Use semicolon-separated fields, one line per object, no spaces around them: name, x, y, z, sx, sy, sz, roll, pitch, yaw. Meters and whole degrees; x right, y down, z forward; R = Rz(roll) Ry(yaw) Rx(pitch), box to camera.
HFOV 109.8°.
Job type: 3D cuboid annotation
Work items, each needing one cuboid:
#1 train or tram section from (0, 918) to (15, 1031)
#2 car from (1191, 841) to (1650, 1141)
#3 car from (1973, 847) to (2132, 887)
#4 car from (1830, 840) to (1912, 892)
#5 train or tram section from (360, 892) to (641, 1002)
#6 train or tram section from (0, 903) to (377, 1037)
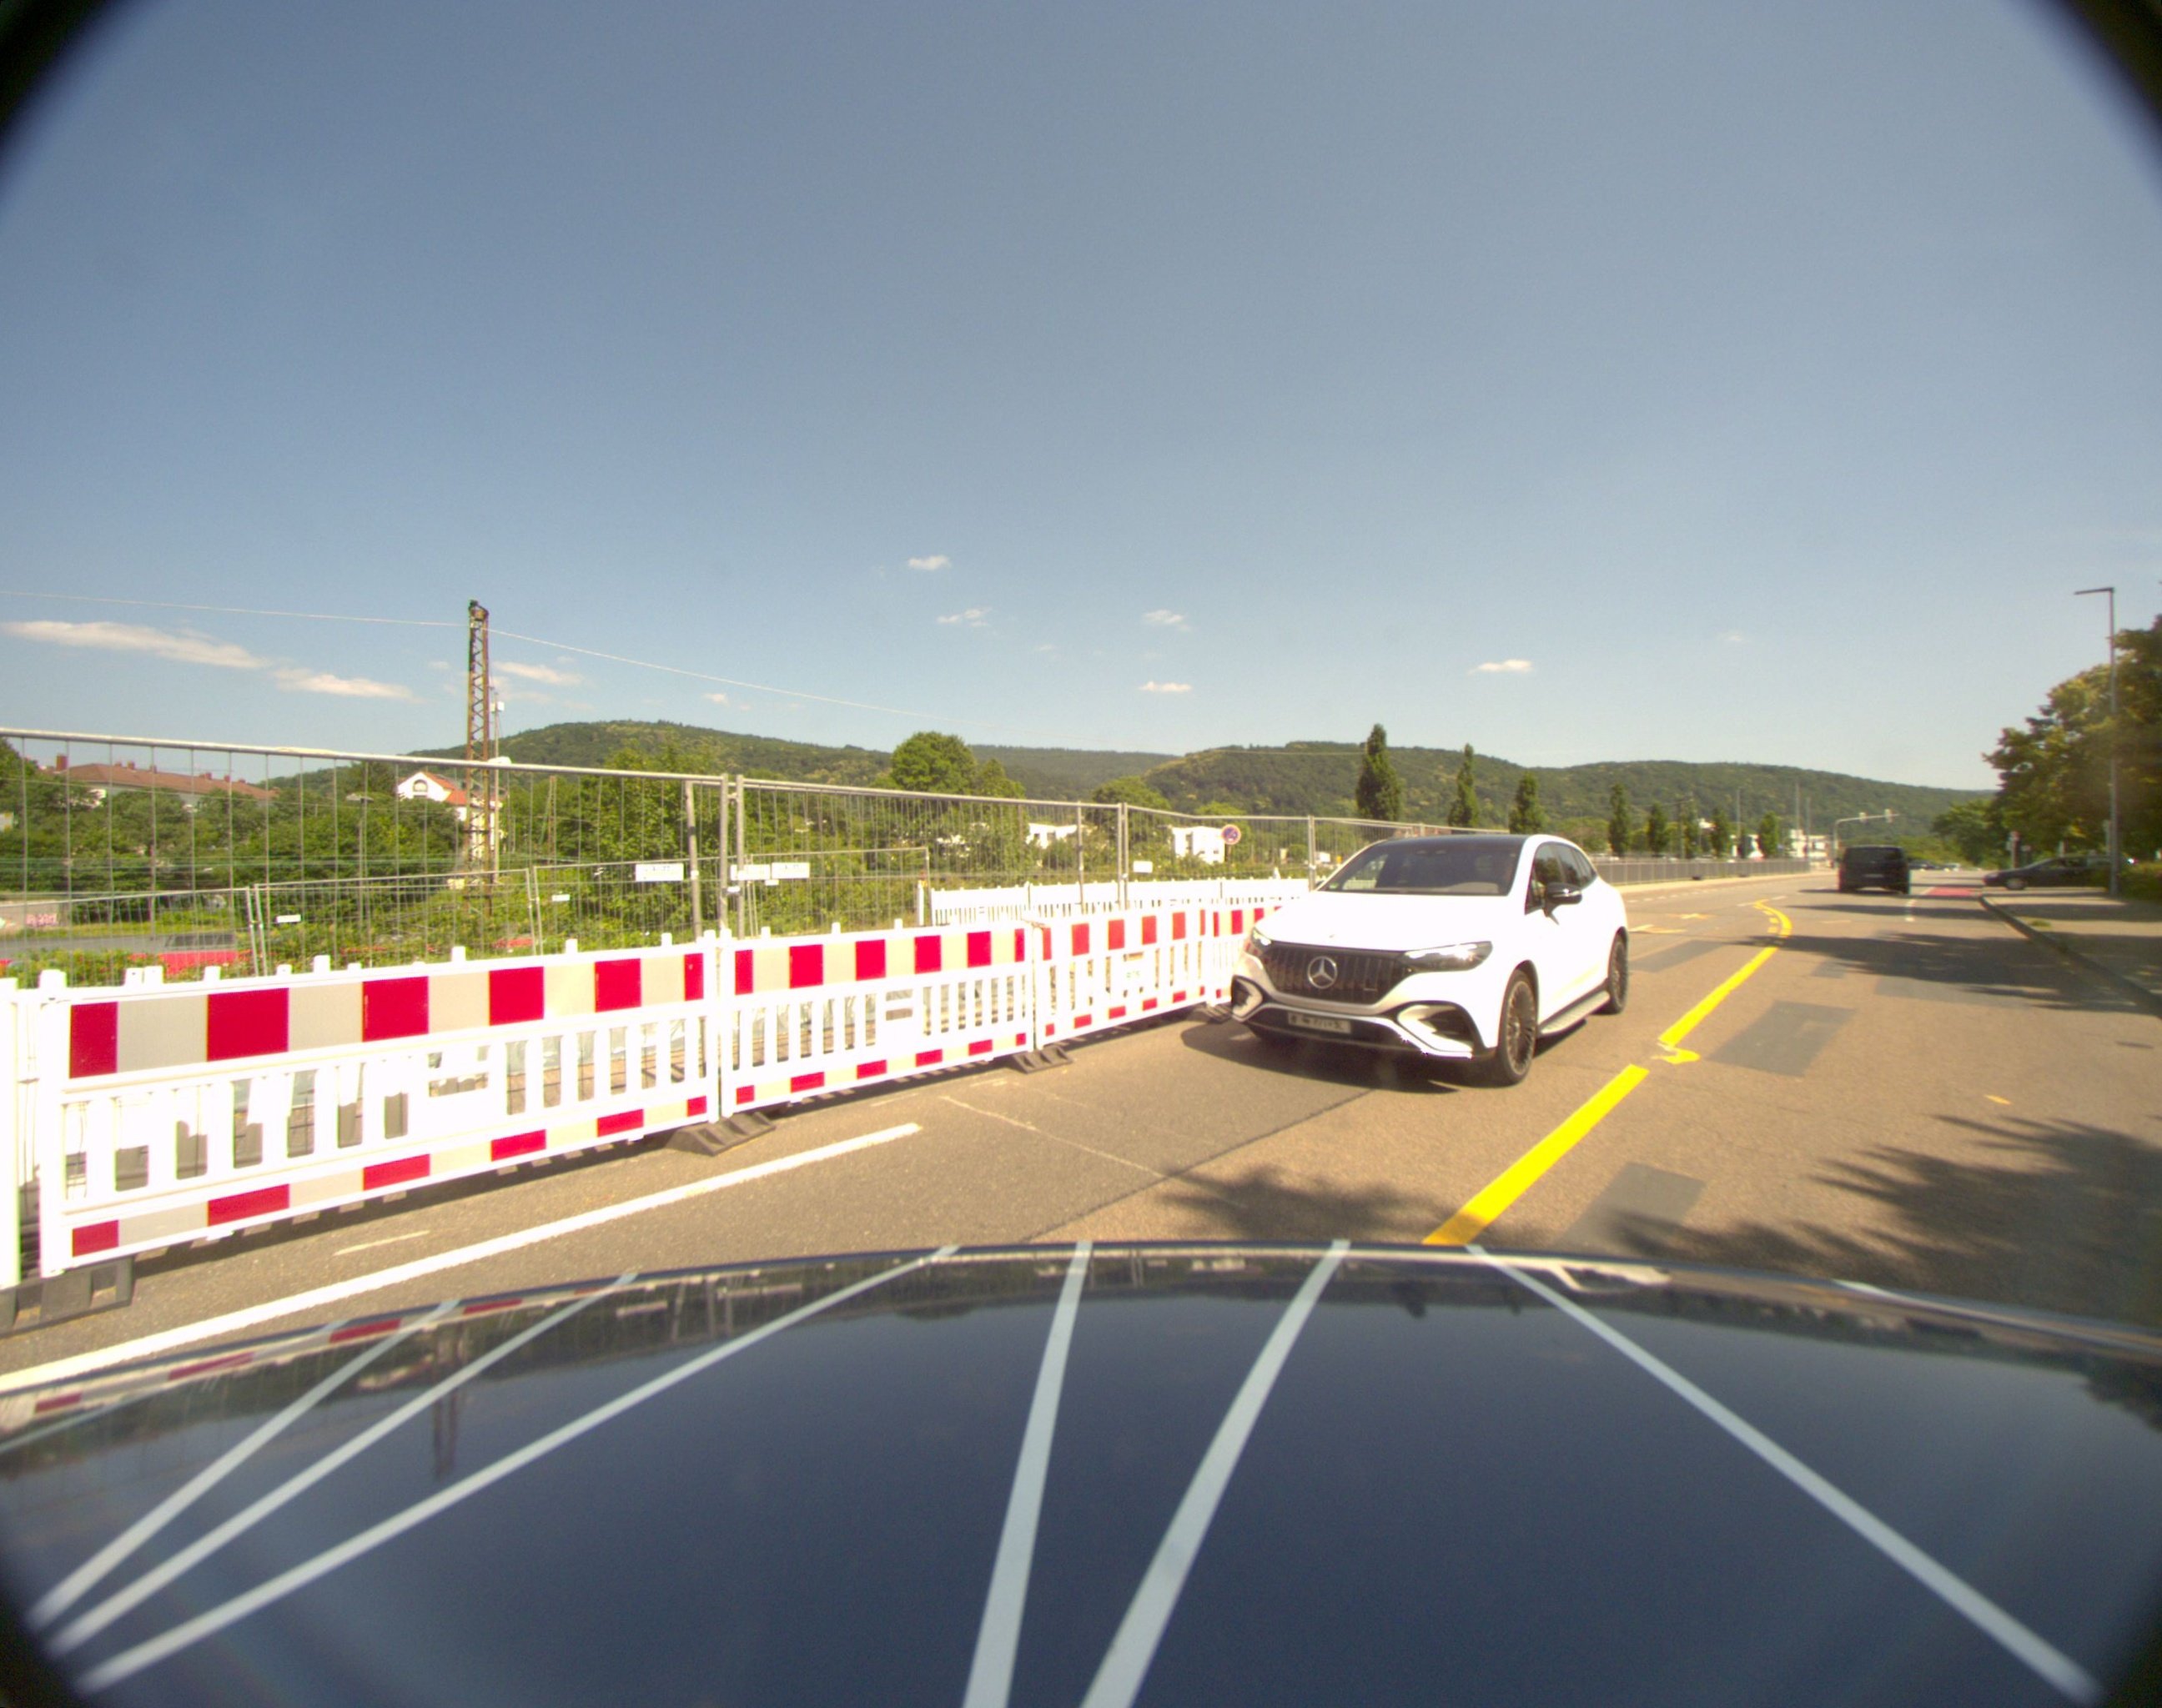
train or tram section;-38.820;4.006;21.833;8.988;3.689;3.018;-1;-2;-34
car;3.291;0.750;6.633;1.994;1.635;5.042;-1;0;45
car;40.624;0.568;31.906;1.884;1.455;3.991;-1;-2;-38
car;33.378;0.415;32.045;5.455;1.957;2.177;-1;3;-42
train or tram section;-23.942;3.661;32.052;8.988;3.679;3.018;-1;-2;-35
train or tram section;-31.369;3.823;26.949;8.988;3.691;3.018;-1;-2;-34
